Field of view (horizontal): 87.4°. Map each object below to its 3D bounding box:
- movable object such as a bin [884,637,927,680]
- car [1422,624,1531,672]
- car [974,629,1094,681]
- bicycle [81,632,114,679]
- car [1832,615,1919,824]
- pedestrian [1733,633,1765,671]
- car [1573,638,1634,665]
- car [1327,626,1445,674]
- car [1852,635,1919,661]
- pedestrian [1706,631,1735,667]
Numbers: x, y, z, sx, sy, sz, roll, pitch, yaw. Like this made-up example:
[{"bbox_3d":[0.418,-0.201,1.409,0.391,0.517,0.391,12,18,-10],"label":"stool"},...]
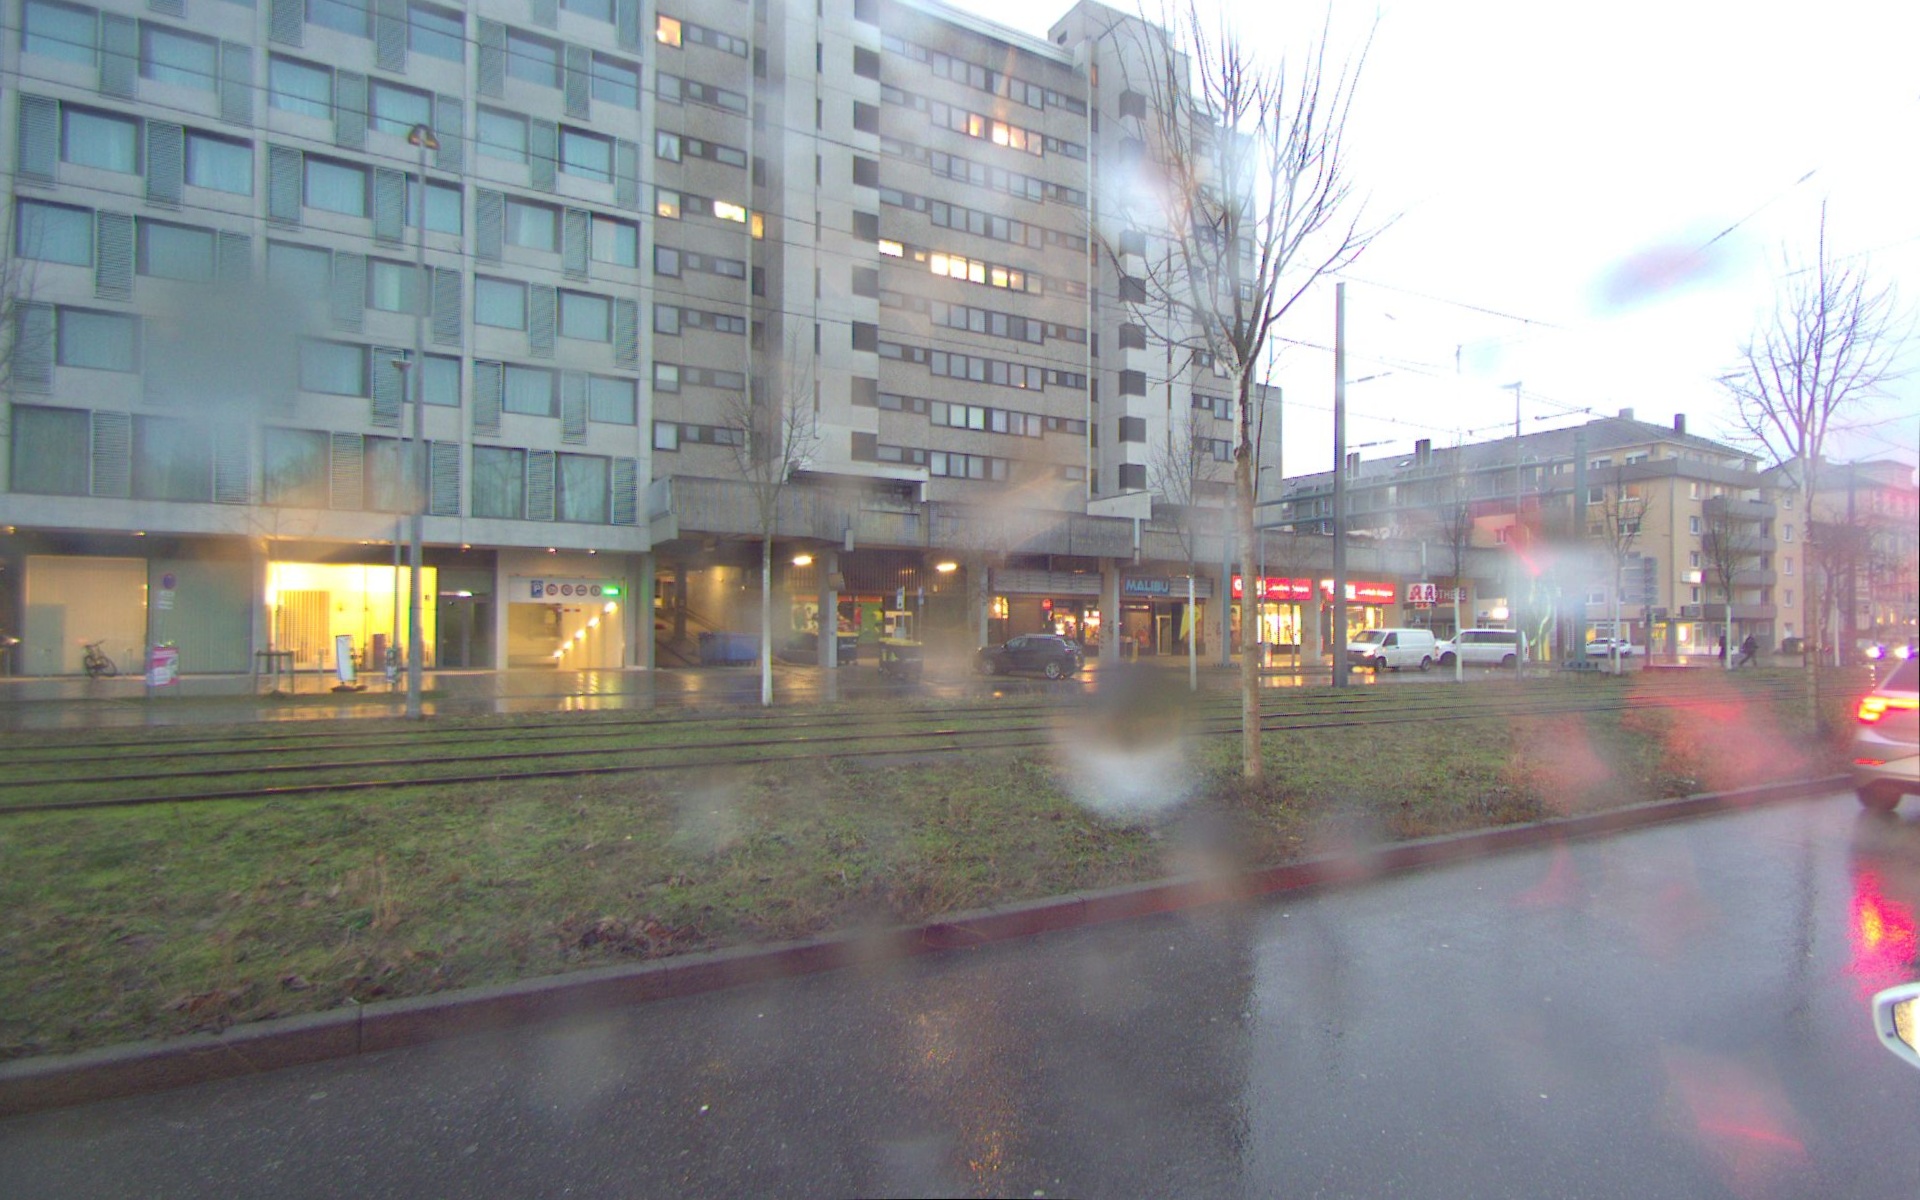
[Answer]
[{"bbox_3d":[-1.894,2.020,35.017,1.023,1.445,1.061,2,0,-41],"label":"movable object such as a bin"},{"bbox_3d":[27.137,2.515,52.918,4.734,2.274,2.001,2,0,15],"label":"car"},{"bbox_3d":[2.820,2.061,38.340,4.066,1.715,1.982,2,0,28],"label":"car"},{"bbox_3d":[-25.174,1.608,29.327,0.460,1.255,1.527,2,0,-31],"label":"bicycle"},{"bbox_3d":[9.023,0.930,8.258,3.955,1.554,1.684,1,-1,-31],"label":"car"},{"bbox_3d":[42.795,2.813,54.498,0.992,2.040,0.958,1,-2,-20],"label":"pedestrian"},{"bbox_3d":[51.300,4.081,80.131,1.826,1.968,3.720,2,0,-37],"label":"car"},{"bbox_3d":[20.044,2.349,47.221,5.491,2.073,1.987,2,0,-26],"label":"car"},{"bbox_3d":[53.144,2.748,57.552,4.265,1.350,1.850,2,0,-31],"label":"car"},{"bbox_3d":[43.722,2.804,57.757,1.253,2.040,1.004,-1,-2,36],"label":"pedestrian"}]
